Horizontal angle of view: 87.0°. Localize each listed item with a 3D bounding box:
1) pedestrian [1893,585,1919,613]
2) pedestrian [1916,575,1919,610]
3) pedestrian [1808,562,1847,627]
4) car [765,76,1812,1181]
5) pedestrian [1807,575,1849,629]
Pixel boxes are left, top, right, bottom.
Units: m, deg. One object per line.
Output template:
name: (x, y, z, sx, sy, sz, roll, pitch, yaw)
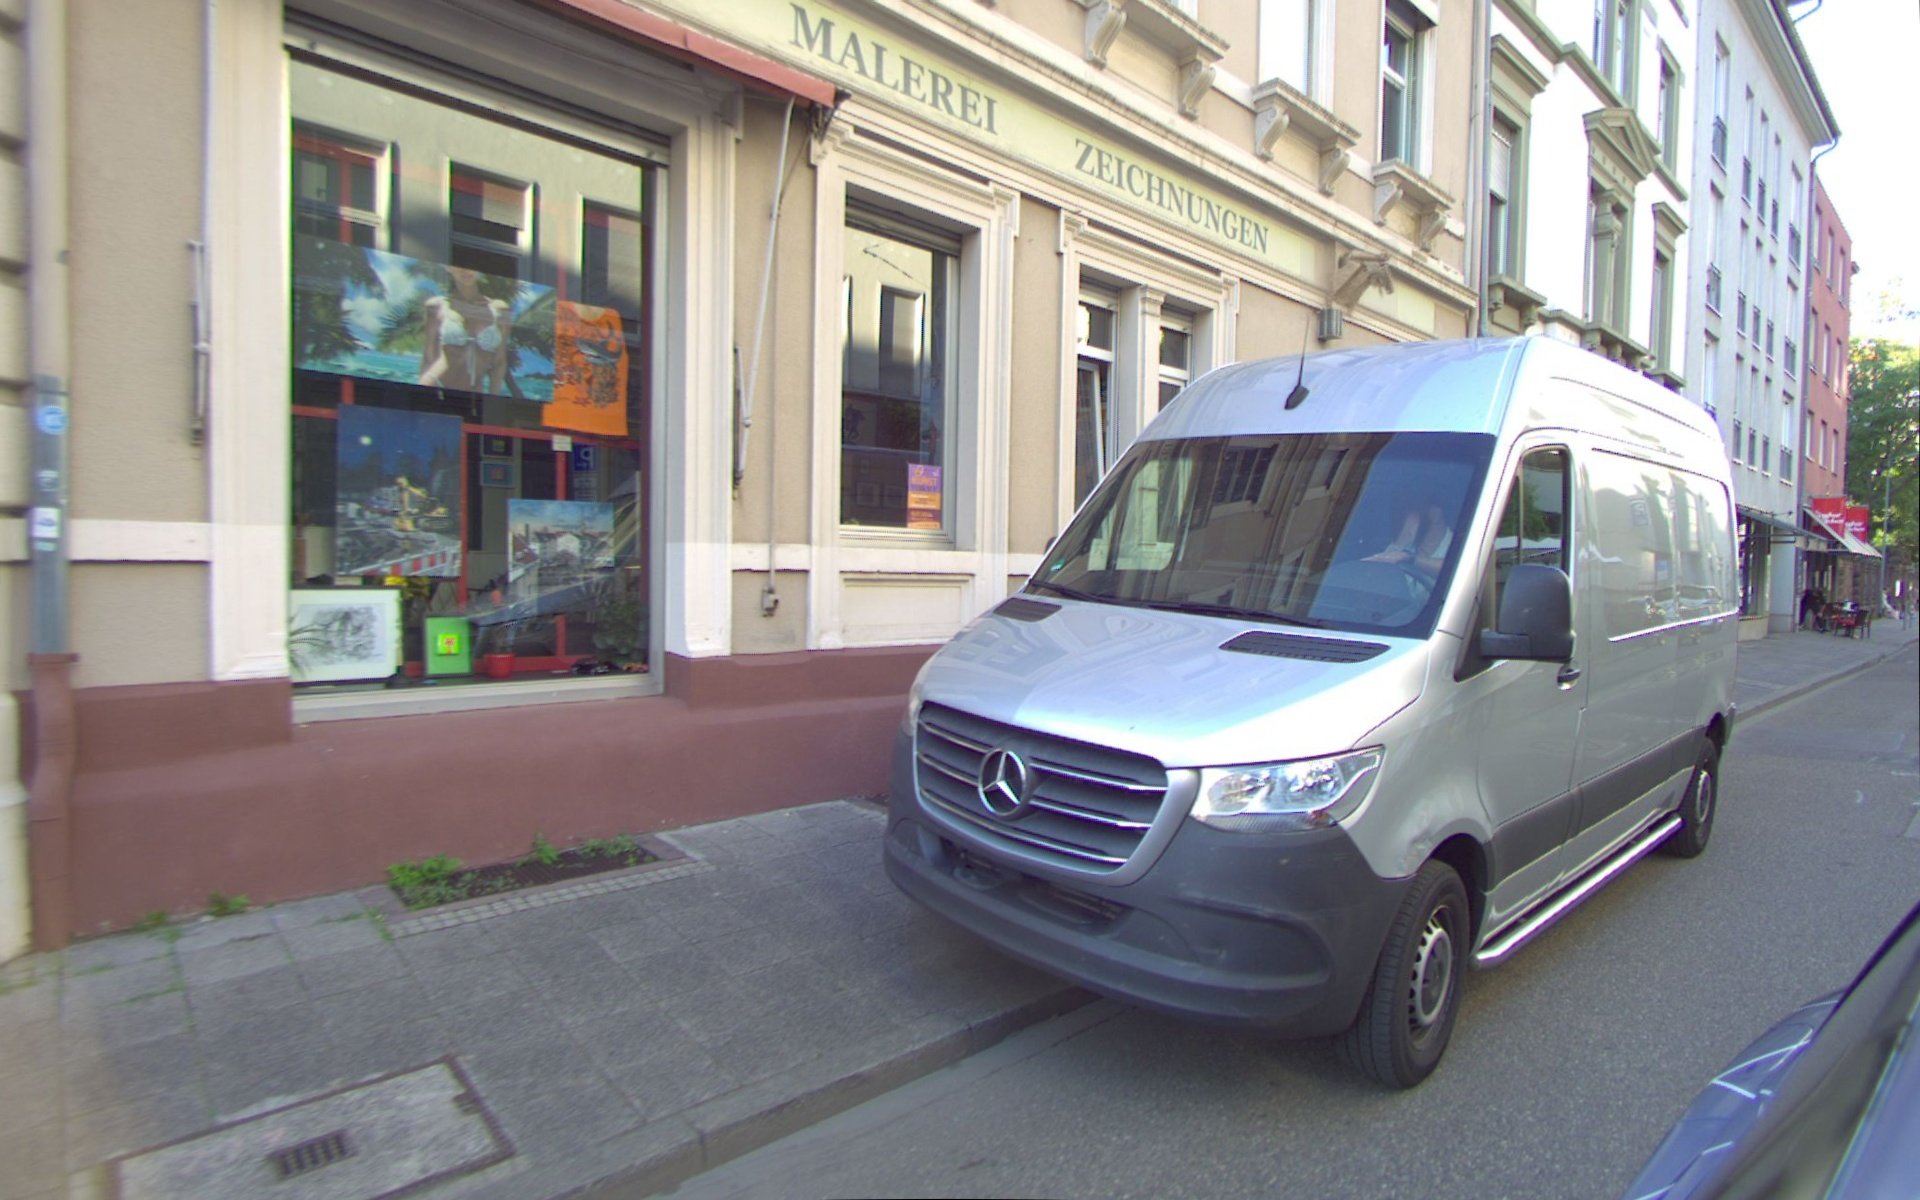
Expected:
pedestrian: (44.791, -0.033, 47.853, 0.357, 1.264, 0.927, 0, 4, -45)
pedestrian: (45.316, -0.350, 47.509, 0.547, 1.666, 0.438, 0, 3, -35)
pedestrian: (25.142, -0.175, 29.348, 0.656, 1.814, 0.721, 6, 4, 37)
car: (2.265, 0.008, 5.152, 6.096, 2.469, 2.281, -1, 2, -42)
pedestrian: (25.363, 0.050, 29.582, 0.650, 1.504, 0.826, 0, 2, -43)
